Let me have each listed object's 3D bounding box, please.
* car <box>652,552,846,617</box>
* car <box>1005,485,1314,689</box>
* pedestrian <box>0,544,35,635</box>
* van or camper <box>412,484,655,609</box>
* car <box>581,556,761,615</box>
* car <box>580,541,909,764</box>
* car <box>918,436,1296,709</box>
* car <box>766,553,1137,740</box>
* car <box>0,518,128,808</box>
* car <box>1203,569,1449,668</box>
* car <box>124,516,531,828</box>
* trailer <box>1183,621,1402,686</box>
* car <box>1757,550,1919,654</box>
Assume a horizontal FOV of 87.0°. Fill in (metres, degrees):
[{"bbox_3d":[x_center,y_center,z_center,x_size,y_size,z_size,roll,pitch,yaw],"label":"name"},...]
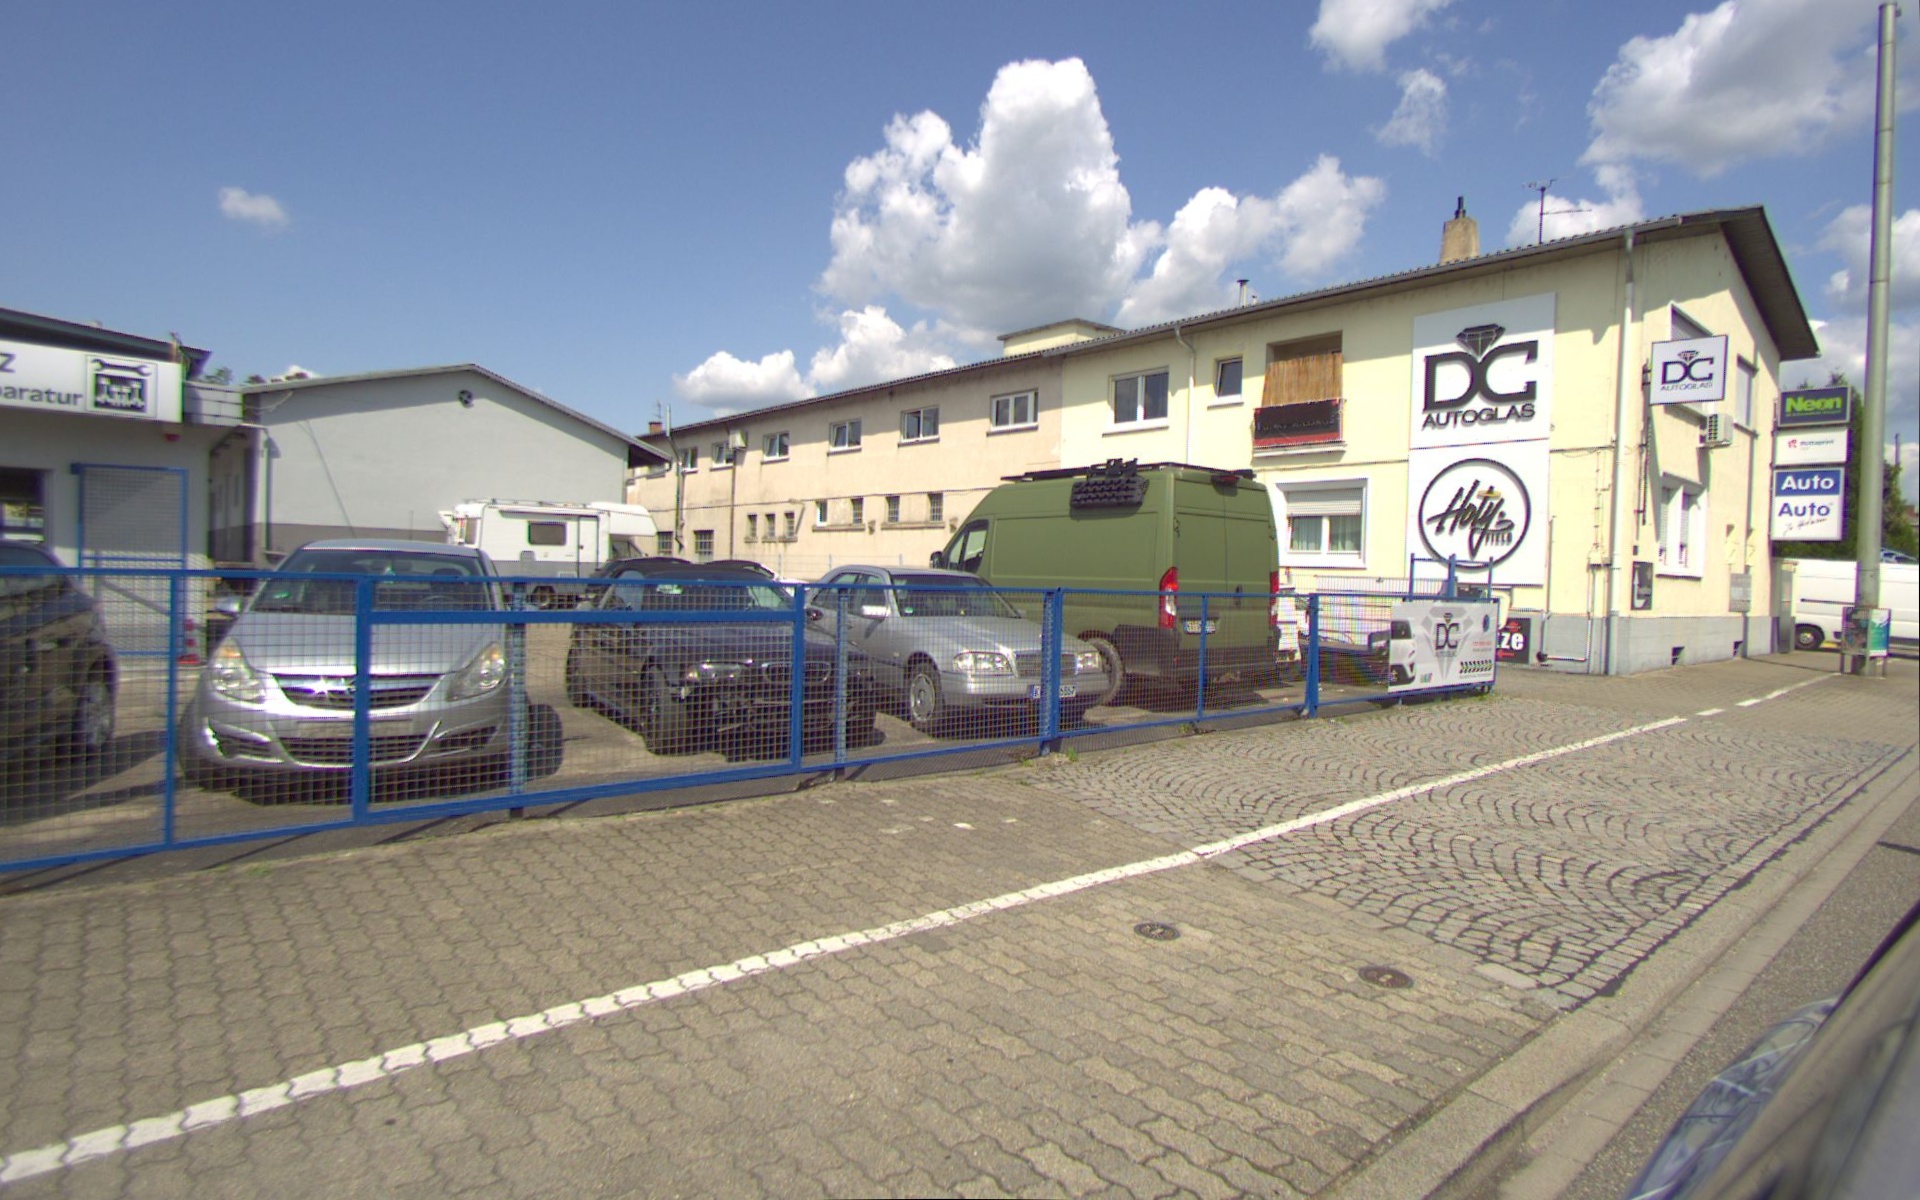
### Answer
[{"bbox_3d":[-4.840,-0.345,23.544,4.112,1.378,1.645,0,2,-41],"label":"car"},{"bbox_3d":[2.624,-0.237,14.221,1.557,2.436,4.208,1,2,-39],"label":"car"},{"bbox_3d":[-13.158,-0.155,13.878,0.652,1.224,0.566,1,1,-39],"label":"pedestrian"},{"bbox_3d":[-11.300,-1.321,27.107,5.556,3.002,2.272,0,2,-42],"label":"van or camper"},{"bbox_3d":[-7.303,-0.356,25.807,4.112,1.378,1.645,0,2,-41],"label":"car"},{"bbox_3d":[-2.125,0.276,8.893,1.737,1.470,4.128,1,2,-28],"label":"car"},{"bbox_3d":[1.591,-0.347,12.252,2.075,2.675,4.208,1,2,-39],"label":"car"},{"bbox_3d":[-0.335,0.289,10.199,1.679,1.470,4.292,1,2,-33],"label":"car"},{"bbox_3d":[-5.619,0.306,4.872,1.606,1.470,3.700,1,2,-25],"label":"car"},{"bbox_3d":[6.289,0.247,17.725,1.527,1.481,3.775,1,2,-39],"label":"car"},{"bbox_3d":[-3.895,0.283,6.836,1.736,1.470,3.778,1,2,-24],"label":"car"},{"bbox_3d":[4.753,0.727,14.646,1.307,0.674,2.730,0,2,-42],"label":"trailer"},{"bbox_3d":[24.538,0.073,26.253,5.823,2.493,2.060,5,4,42],"label":"car"}]
